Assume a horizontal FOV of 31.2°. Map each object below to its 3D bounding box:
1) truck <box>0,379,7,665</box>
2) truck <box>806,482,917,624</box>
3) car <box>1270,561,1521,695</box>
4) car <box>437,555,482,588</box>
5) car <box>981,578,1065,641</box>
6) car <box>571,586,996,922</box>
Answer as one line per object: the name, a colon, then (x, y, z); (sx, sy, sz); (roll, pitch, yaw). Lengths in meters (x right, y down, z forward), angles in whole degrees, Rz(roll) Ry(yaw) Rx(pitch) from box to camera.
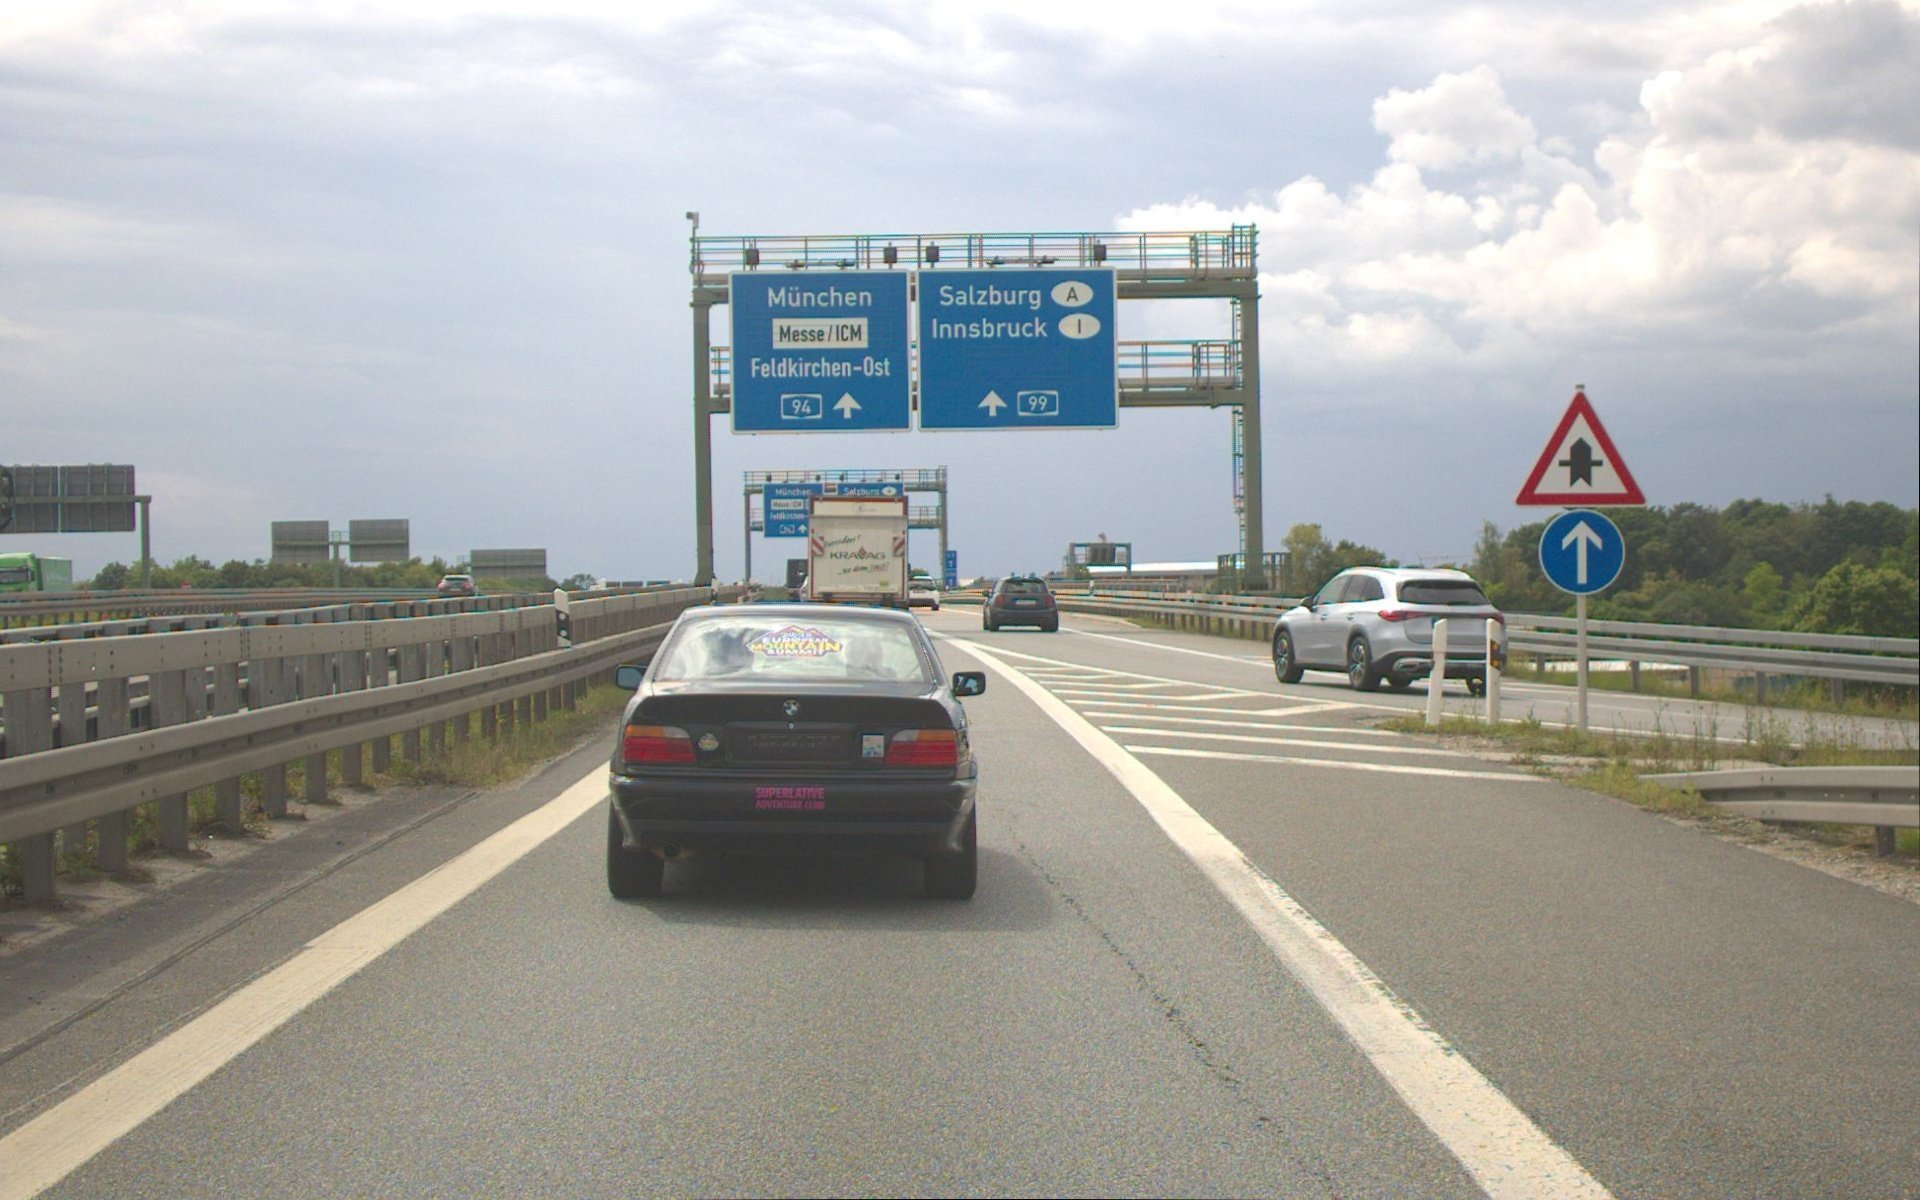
truck: (-14.511, -1.038, 43.810); (3.246, 3.898, 6.611); (1, 1, -4)
truck: (-2.245, -1.070, 78.157); (2.404, 3.079, 6.371); (1, 1, -2)
car: (5.743, 0.328, 45.824); (1.935, 1.679, 4.210); (0, 1, -14)
car: (-24.802, -1.399, 170.478); (1.892, 1.592, 4.418); (1, 1, -5)
car: (1.597, 0.219, 88.393); (1.993, 1.547, 4.000); (1, 0, -1)
car: (-0.737, 0.643, 16.594); (1.782, 1.373, 4.137); (1, 1, 0)
